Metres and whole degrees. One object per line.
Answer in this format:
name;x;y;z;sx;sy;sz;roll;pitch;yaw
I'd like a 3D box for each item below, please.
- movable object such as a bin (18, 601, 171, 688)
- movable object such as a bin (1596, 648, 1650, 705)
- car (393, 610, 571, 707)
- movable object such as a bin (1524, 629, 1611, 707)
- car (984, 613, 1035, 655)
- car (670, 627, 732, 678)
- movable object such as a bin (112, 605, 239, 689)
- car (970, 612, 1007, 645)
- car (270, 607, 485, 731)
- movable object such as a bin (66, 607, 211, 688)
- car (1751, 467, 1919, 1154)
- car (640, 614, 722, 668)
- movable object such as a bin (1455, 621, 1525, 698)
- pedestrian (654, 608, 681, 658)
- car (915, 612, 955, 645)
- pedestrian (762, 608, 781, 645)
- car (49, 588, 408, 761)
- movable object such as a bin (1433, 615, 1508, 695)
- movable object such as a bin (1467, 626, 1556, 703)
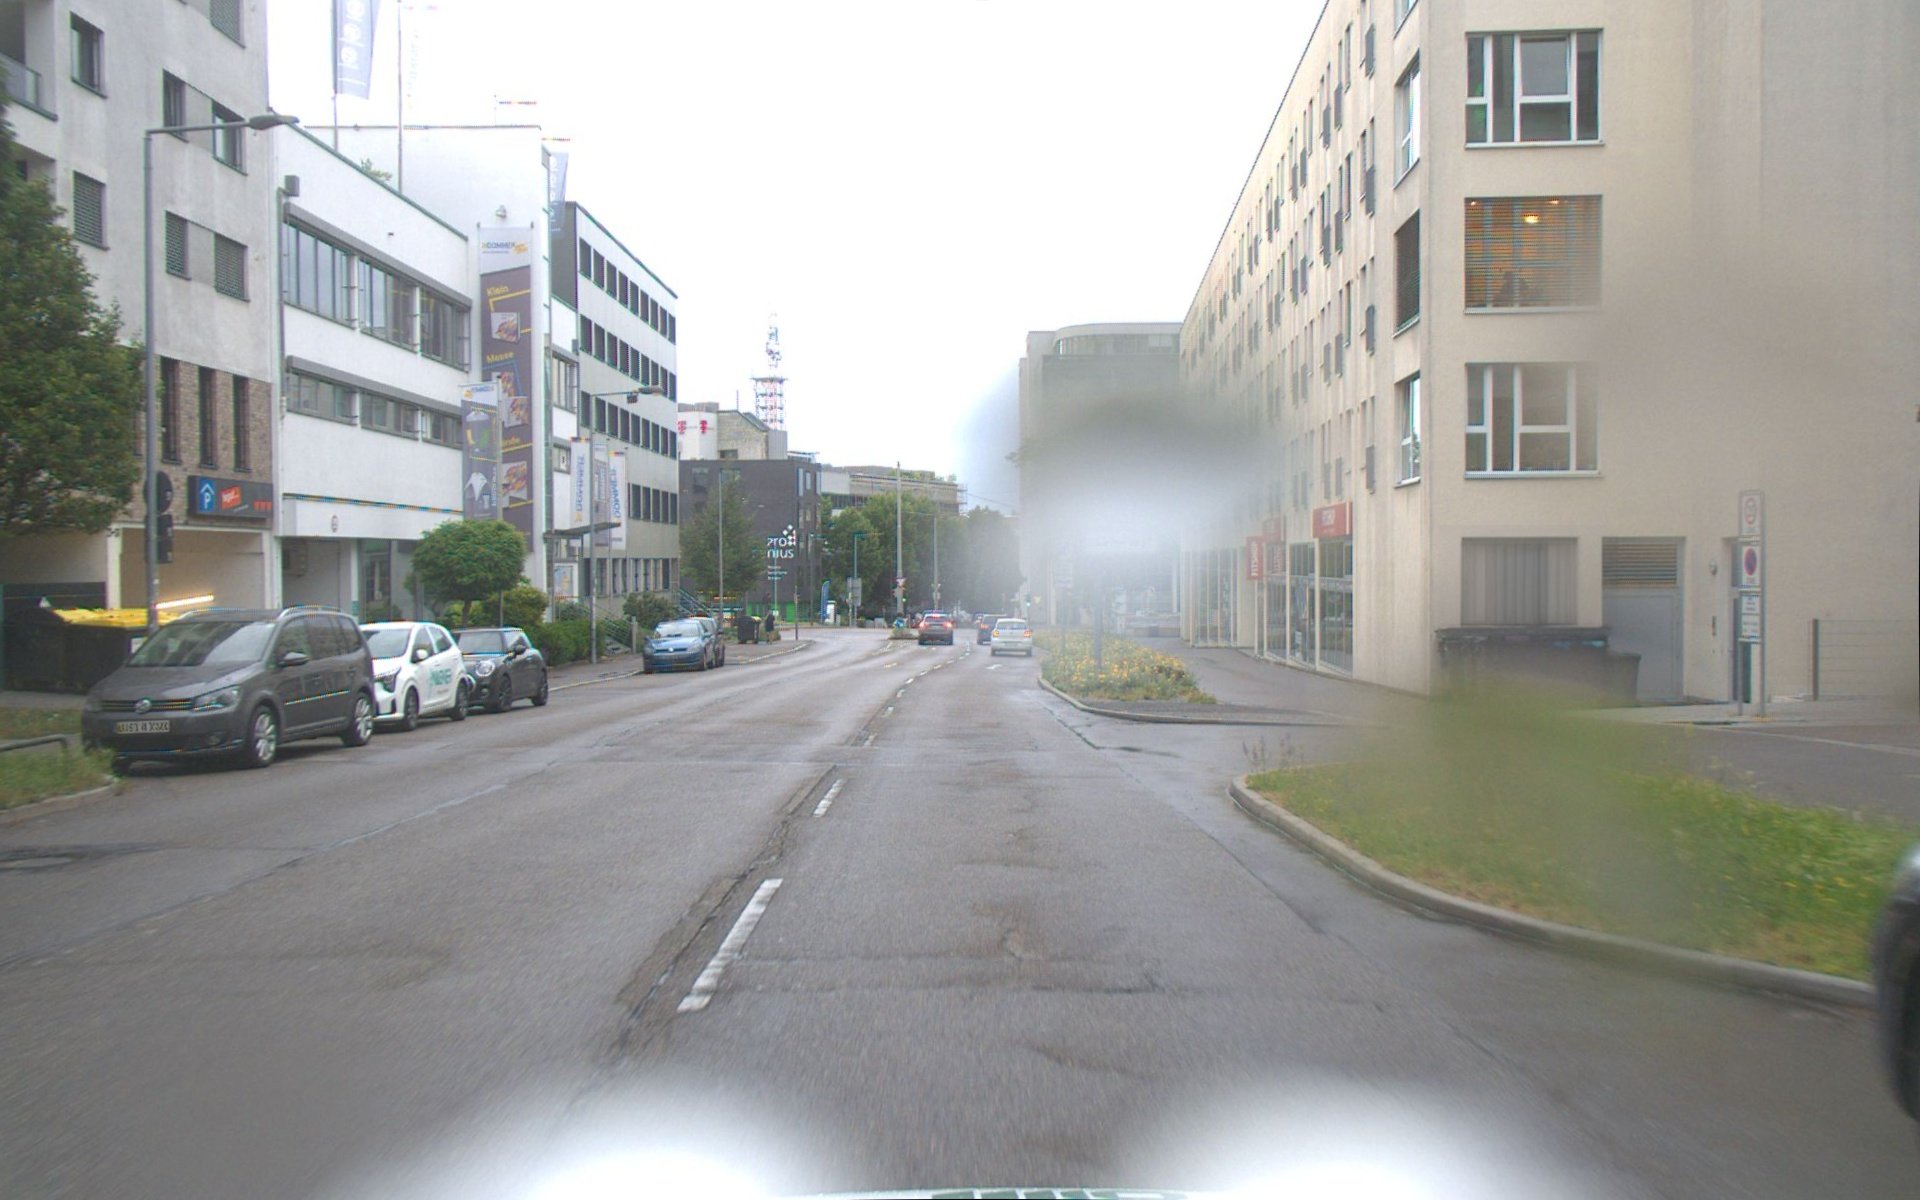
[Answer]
movable object such as a bin;-15.227;0.786;29.162;1.987;1.455;1.289;1;-1;-4
movable object such as a bin;12.392;1.418;30.934;0.684;1.045;0.853;0;-1;2
car;-8.146;0.997;28.593;1.760;1.543;4.245;0;-2;1
movable object such as a bin;11.383;1.265;31.042;1.234;1.427;1.112;0;-1;2
car;2.010;1.340;66.316;1.952;1.604;3.997;0;-1;2
car;-8.191;1.651;52.510;1.532;1.541;3.169;-2;-1;-2
movable object such as a bin;-15.160;0.903;32.042;1.760;1.536;1.480;-2;-1;-4
car;1.535;1.553;91.491;1.953;1.780;3.672;0;-1;0
car;-8.290;0.935;23.920;1.737;1.628;4.030;0;-1;-1
movable object such as a bin;-15.136;0.875;30.539;2.013;1.448;1.316;1;-1;-4
car;3.296;0.518;2.631;1.771;1.708;4.711;0;0;-1
car;-8.065;1.202;48.185;1.876;1.507;4.353;0;-2;-3
movable object such as a bin;9.971;1.111;31.153;1.000;1.427;1.058;0;-1;2
pedestrian;-10.355;1.160;58.584;0.720;1.738;0.895;0;-3;-27
car;-1.338;1.552;89.617;2.098;1.758;3.999;0;-2;-1
pedestrian;-10.198;1.455;89.517;0.943;1.990;0.776;0;-2;-13
car;-7.945;0.752;18.543;2.035;1.637;4.683;-1;-1;-2
movable object such as a bin;9.932;1.056;32.212;1.149;1.529;1.014;0;-1;2
movable object such as a bin;10.023;1.170;30.131;1.209;1.343;1.192;-1;-2;1
